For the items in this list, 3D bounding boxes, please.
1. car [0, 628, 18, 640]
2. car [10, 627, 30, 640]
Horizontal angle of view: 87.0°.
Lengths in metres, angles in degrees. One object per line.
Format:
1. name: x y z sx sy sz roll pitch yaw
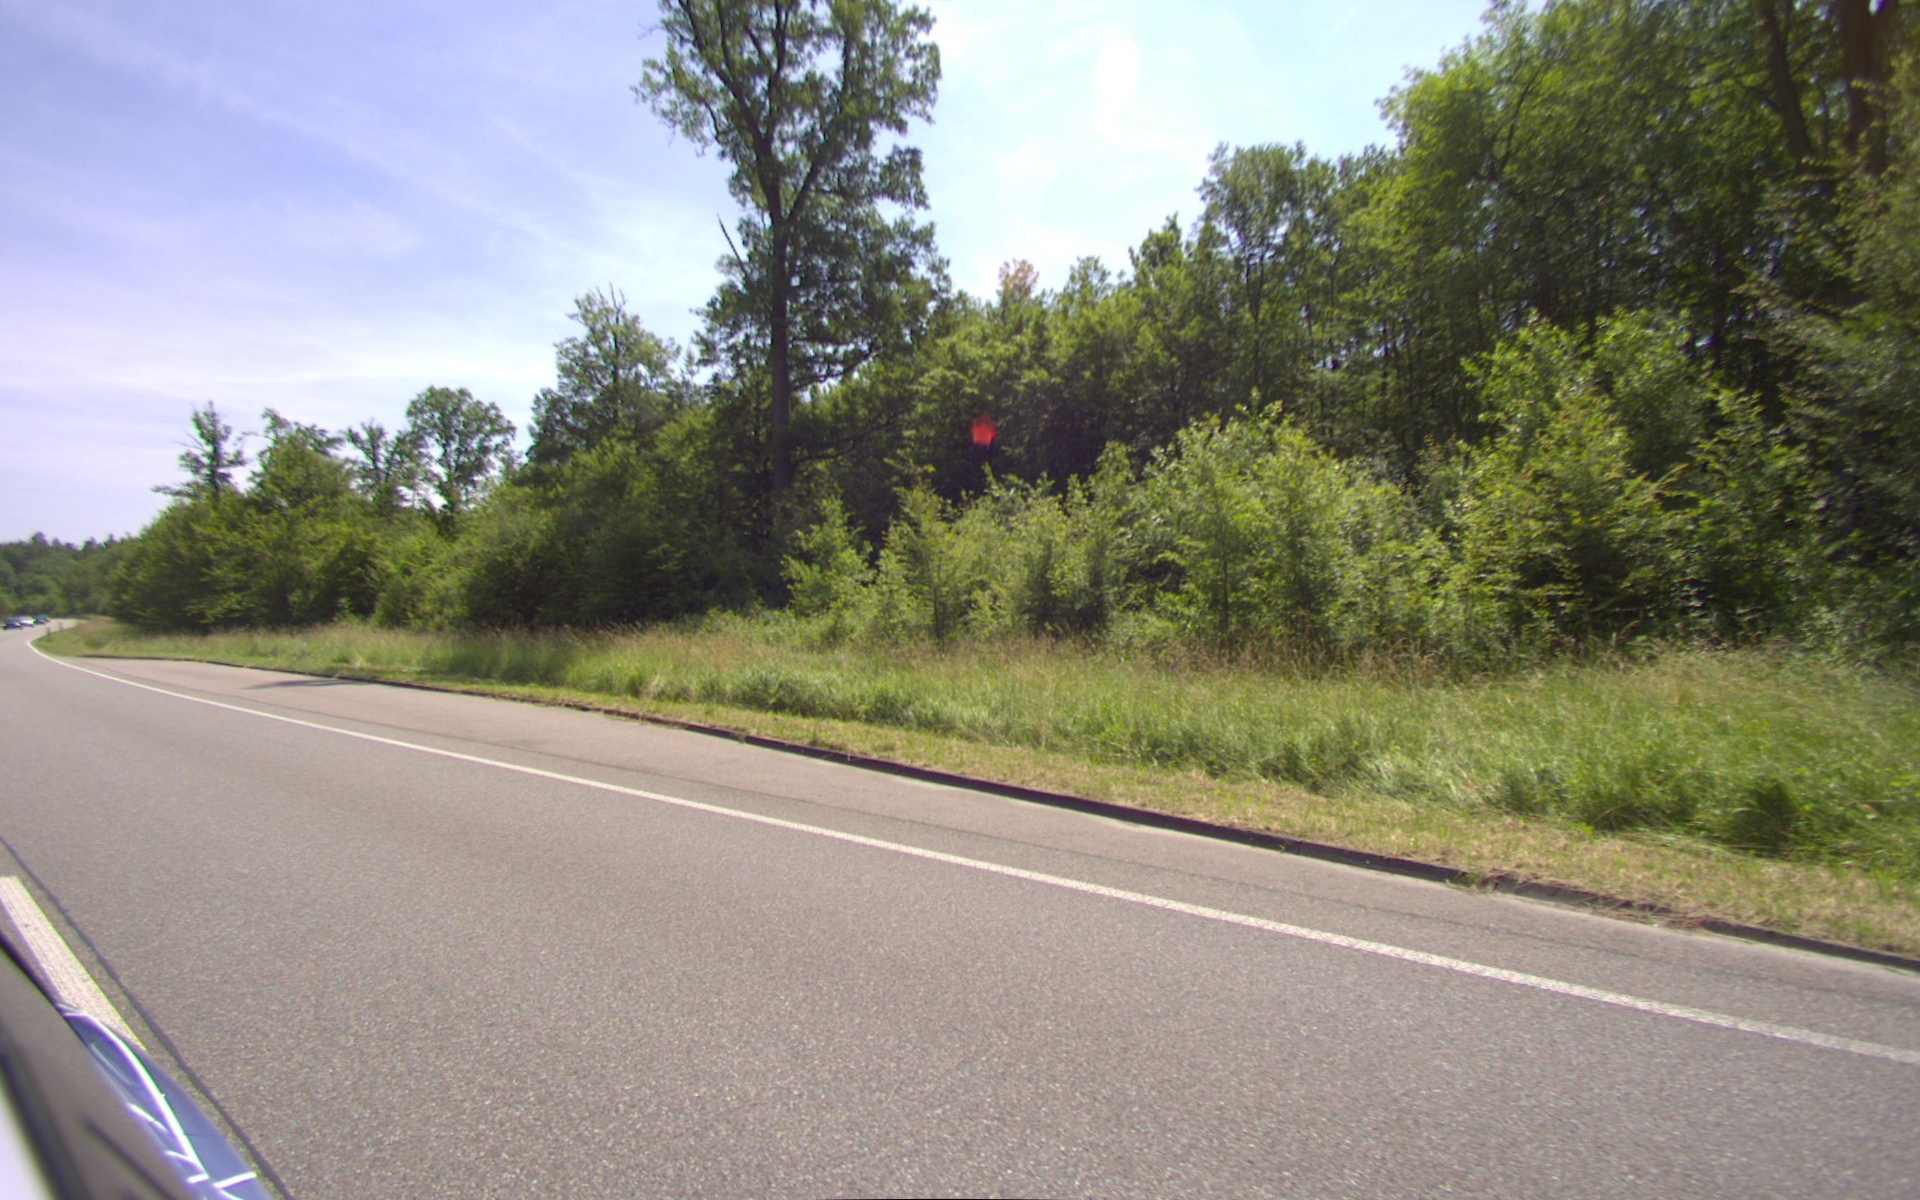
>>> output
1. car: -119.292 4.285 126.651 1.749 1.474 4.006 -1 -1 -40
2. car: -137.720 4.934 148.328 1.989 1.761 4.387 0 -1 -41
